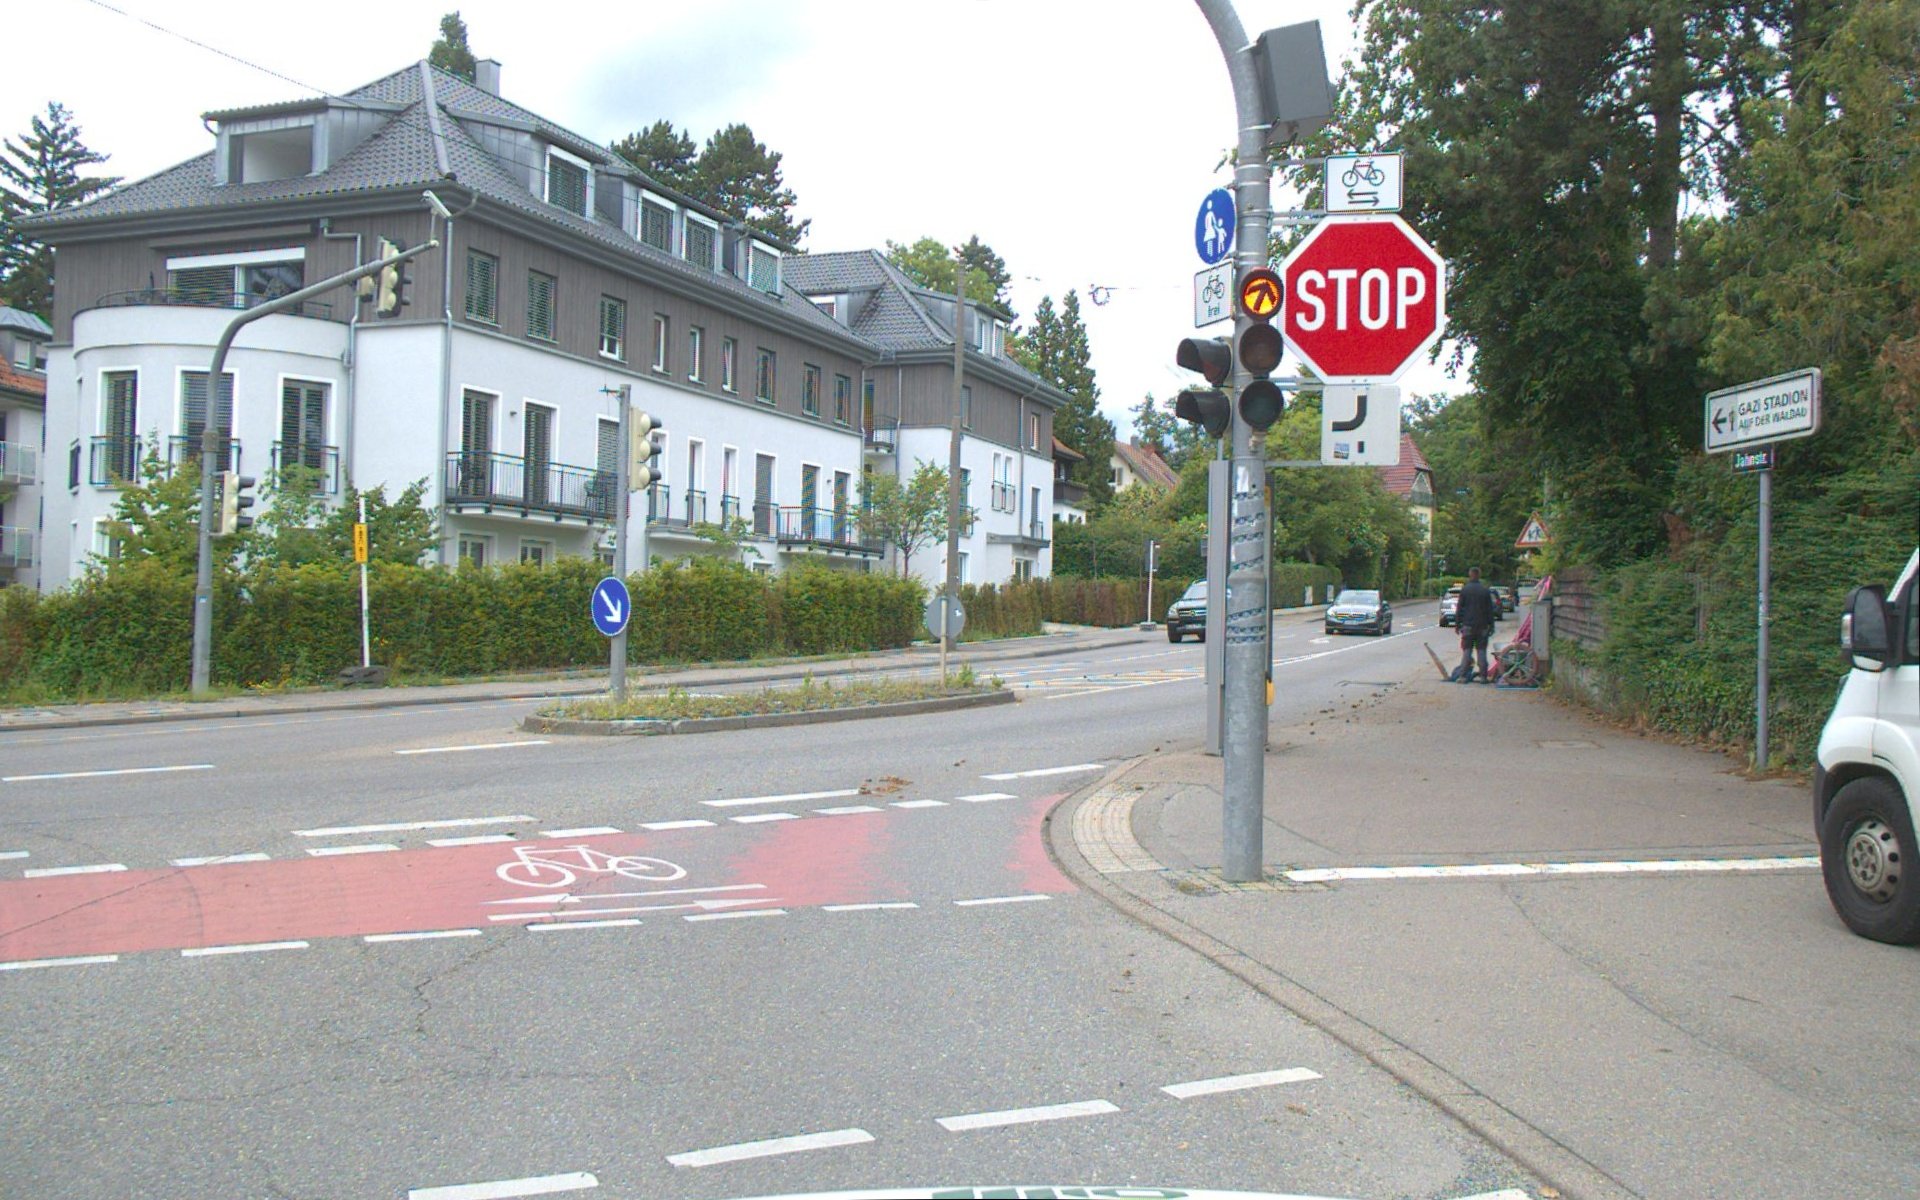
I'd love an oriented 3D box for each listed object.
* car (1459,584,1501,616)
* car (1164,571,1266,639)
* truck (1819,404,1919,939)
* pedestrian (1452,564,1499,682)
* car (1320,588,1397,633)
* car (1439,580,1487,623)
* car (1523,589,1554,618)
[{"bbox_3d":[26.300,0.001,83.561,1.763,1.553,4.743,-1,0,21],"label":"car"},{"bbox_3d":[7.698,0.171,49.516,1.873,1.913,5.140,-1,-1,22],"label":"car"},{"bbox_3d":[5.143,0.321,5.026,2.162,2.283,5.724,1,0,1],"label":"truck"},{"bbox_3d":[8.578,0.375,27.557,0.584,1.940,0.558,1,0,0],"label":"pedestrian"},{"bbox_3d":[13.558,0.319,56.086,1.899,1.428,4.742,1,1,22],"label":"car"},{"bbox_3d":[21.416,0.046,70.320,1.770,1.784,4.488,-1,0,19],"label":"car"},{"bbox_3d":[40.560,0.220,115.893,1.879,1.927,4.909,2,1,20],"label":"car"}]
